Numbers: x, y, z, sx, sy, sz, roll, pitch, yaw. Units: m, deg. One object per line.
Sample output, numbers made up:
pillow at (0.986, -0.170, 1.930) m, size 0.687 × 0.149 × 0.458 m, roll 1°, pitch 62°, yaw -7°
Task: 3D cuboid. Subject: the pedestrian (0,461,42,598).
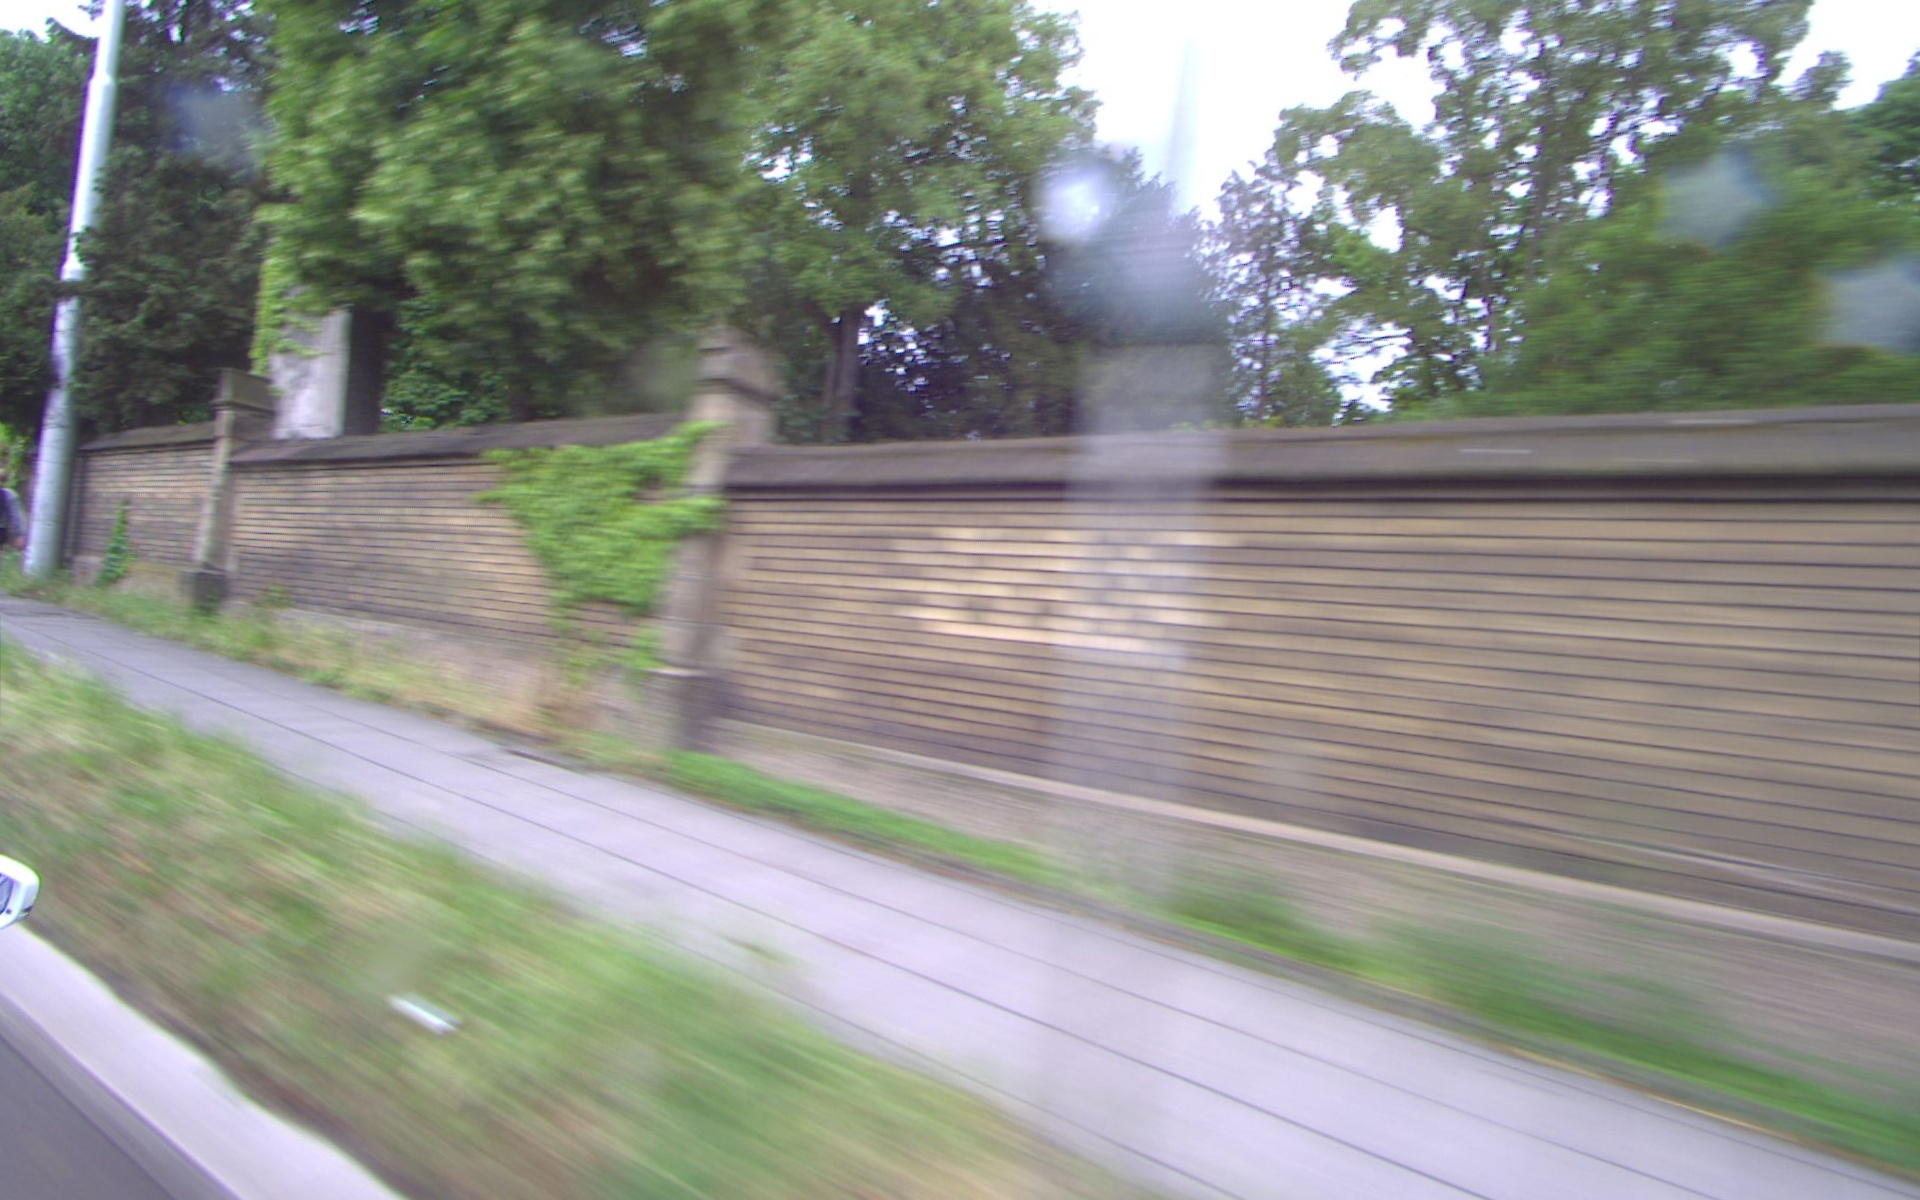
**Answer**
pedestrian at (-13.293, -0.999, 13.758) m, size 0.886 × 1.800 × 0.709 m, roll 7°, pitch -1°, yaw 32°
